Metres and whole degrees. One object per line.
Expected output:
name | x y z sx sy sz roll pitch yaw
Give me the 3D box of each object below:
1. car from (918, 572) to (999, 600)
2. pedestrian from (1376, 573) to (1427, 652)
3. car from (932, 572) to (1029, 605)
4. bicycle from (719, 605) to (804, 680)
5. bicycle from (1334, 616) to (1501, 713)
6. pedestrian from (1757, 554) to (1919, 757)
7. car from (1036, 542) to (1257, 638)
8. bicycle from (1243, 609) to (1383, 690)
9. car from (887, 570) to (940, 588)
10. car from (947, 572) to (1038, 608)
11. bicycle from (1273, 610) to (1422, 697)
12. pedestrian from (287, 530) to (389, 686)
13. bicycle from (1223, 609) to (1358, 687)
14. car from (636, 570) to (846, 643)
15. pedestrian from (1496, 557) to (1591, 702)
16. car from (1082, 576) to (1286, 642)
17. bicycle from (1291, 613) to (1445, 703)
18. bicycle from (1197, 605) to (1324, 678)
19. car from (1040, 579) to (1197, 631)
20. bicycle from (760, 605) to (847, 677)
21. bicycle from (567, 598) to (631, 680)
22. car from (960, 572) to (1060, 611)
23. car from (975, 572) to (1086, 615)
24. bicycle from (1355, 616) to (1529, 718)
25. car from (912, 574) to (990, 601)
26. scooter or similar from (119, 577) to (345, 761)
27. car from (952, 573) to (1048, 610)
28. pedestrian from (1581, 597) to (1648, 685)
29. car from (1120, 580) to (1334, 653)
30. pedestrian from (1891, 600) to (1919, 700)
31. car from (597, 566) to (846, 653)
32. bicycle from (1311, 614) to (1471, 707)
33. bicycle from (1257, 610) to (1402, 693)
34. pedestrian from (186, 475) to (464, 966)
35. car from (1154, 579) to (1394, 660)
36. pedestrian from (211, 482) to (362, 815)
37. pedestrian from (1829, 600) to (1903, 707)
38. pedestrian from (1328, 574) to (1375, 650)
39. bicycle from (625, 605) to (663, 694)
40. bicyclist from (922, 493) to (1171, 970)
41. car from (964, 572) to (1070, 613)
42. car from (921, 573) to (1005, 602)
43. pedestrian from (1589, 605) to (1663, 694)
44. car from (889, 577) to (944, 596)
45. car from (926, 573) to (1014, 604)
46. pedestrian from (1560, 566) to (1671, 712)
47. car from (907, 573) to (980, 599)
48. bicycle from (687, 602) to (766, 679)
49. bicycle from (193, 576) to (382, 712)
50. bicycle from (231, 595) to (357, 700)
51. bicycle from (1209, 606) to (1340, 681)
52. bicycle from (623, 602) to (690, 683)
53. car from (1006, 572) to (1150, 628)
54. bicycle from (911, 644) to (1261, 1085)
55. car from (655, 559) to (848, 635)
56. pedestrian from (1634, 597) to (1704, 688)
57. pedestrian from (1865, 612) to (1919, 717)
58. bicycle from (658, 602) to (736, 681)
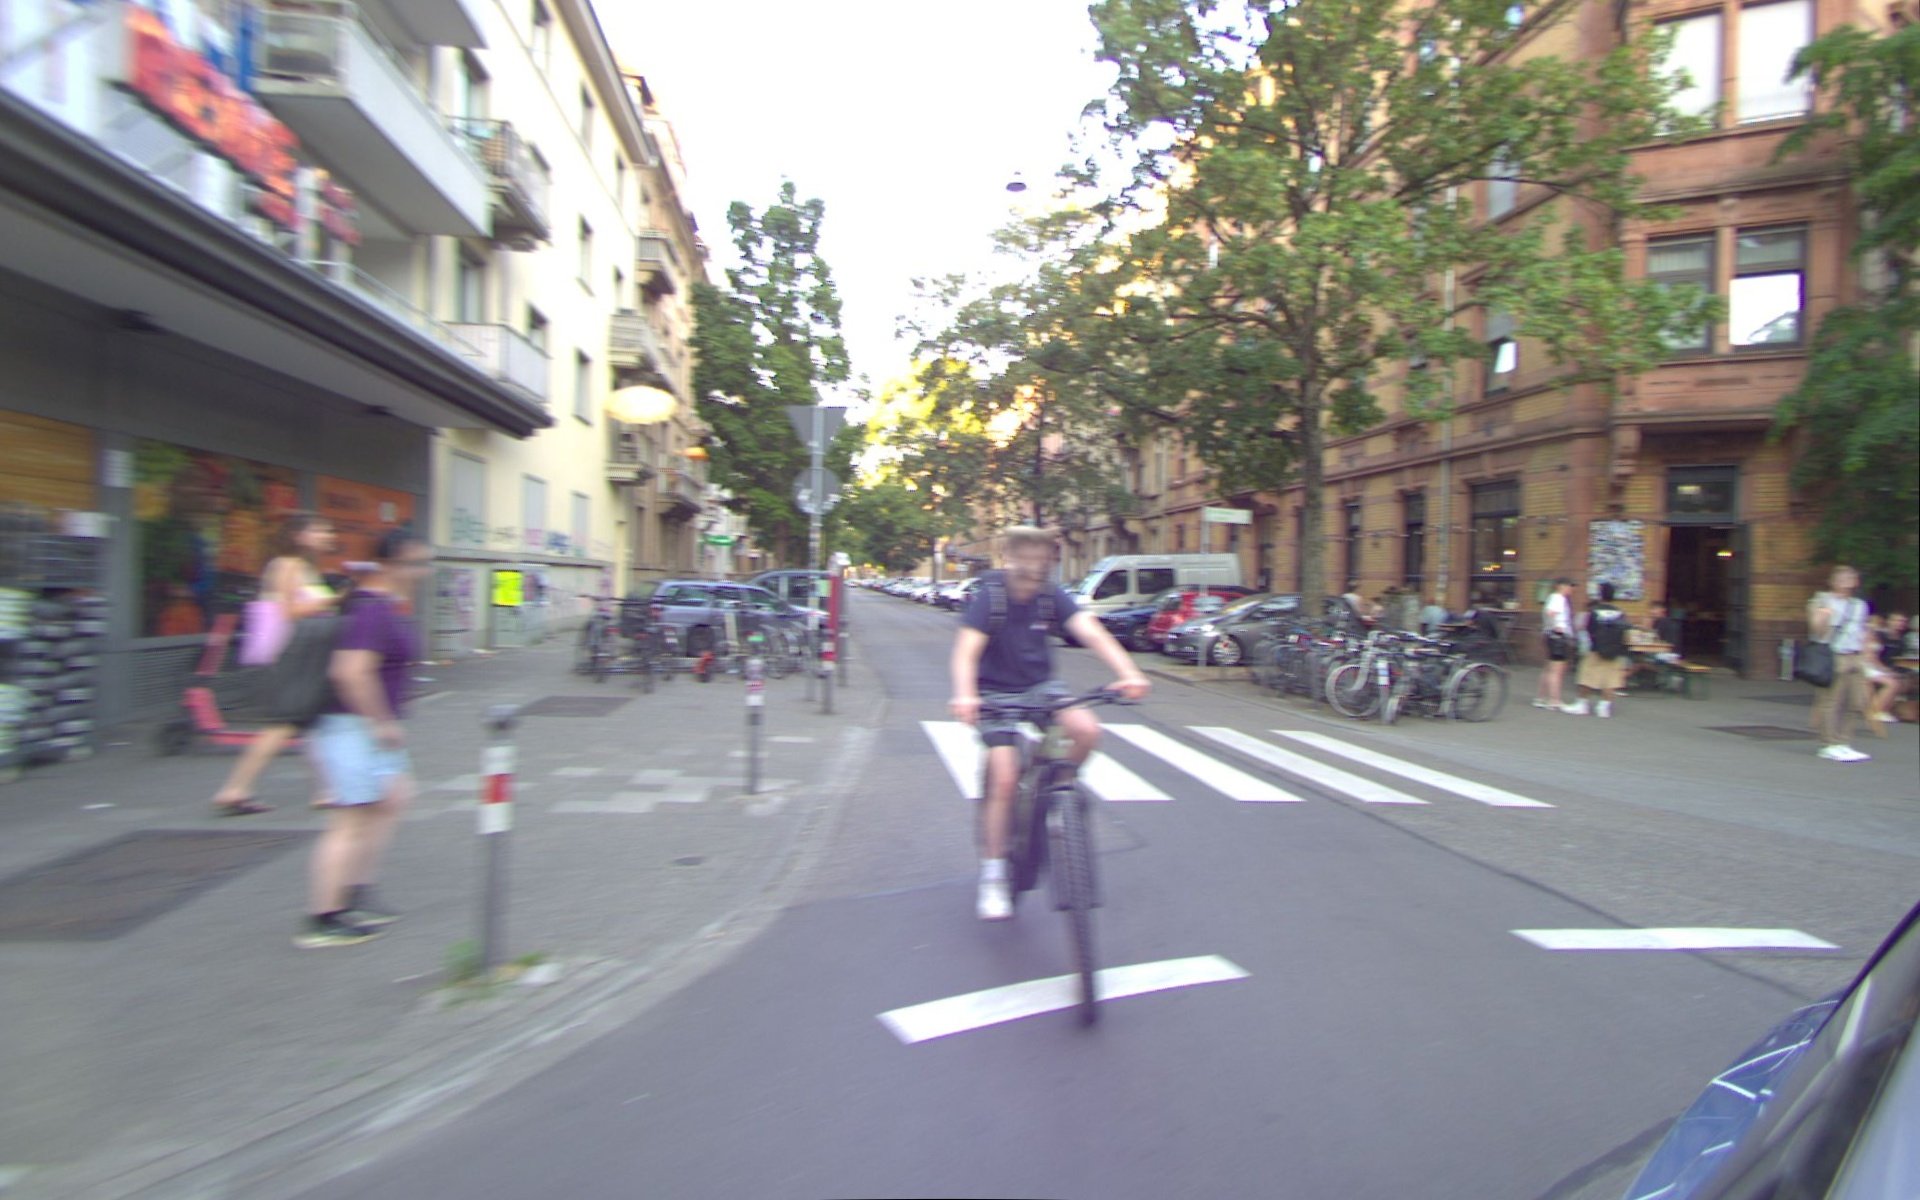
car | -0.135 -0.895 66.445 5.093 1.807 2.003 0 0 -8
pedestrian | 9.618 0.266 22.057 0.732 1.698 0.767 0 0 -3
car | 1.106 -0.640 56.262 5.093 1.807 2.003 0 0 -8
bicycle | -3.046 0.613 15.384 0.482 1.039 2.015 0 0 -35
bicycle | 5.676 0.778 12.568 1.993 1.148 0.436 0 0 -10
pedestrian | 8.373 0.501 9.690 0.822 1.851 0.867 0 0 6
car | 4.958 -0.279 27.325 5.428 2.451 2.249 0 0 -9
bicycle | 5.221 0.717 14.977 1.993 1.148 0.436 0 0 -10
car | -4.581 -2.070 100.003 5.093 1.807 2.003 0 0 -8
car | 1.679 -0.522 53.091 4.452 1.807 2.003 0 0 -8
bicycle | 5.367 0.727 14.022 1.993 1.148 0.436 0 0 -10
pedestrian | -6.692 0.080 10.916 0.704 1.621 0.666 0 0 -2
bicycle | 5.061 0.716 15.512 1.993 1.148 0.436 0 0 -10
car | -5.059 0.127 23.301 4.449 1.545 2.004 0 0 -22
pedestrian | 7.765 0.371 13.469 0.852 1.851 0.836 0 0 -37
car | 5.403 0.192 24.773 4.453 1.545 2.002 0 0 -6
bicycle | 5.464 0.763 13.563 1.993 1.148 0.436 0 0 -10
bicycle | 4.888 0.664 16.483 1.993 1.148 0.436 0 0 -10
car | 4.878 0.145 31.496 4.452 1.545 2.003 0 0 -8
bicycle | -2.472 0.609 15.798 0.482 1.039 2.015 0 0 -35
bicycle | -4.941 0.493 13.780 0.370 1.039 2.016 0 0 -33
car | 2.326 -0.403 47.884 4.452 1.807 2.003 0 0 -8
car | 2.996 -0.279 43.462 4.452 1.807 2.003 0 0 -8
bicycle | 5.751 0.781 12.073 1.993 1.148 0.436 0 0 -10
car | -0.631 -0.863 69.228 5.093 1.807 2.003 0 0 -8
scooter or similar | -5.282 0.502 7.400 1.262 1.283 0.323 2 -1 -17
car | 1.954 -0.419 50.101 4.452 1.807 2.003 0 0 -8
pedestrian | 10.464 0.636 16.179 0.725 1.362 0.628 0 0 -29
car | 5.885 0.347 22.604 4.206 1.545 1.913 0 0 -6
pedestrian | 12.583 0.645 13.165 0.563 1.285 0.547 0 0 -31
car | -4.637 0.148 20.131 4.470 1.545 1.994 0 0 -45
bicycle | 5.566 0.766 13.082 1.993 1.148 0.436 0 0 -10
bicycle | 5.293 0.724 14.500 1.993 1.148 0.436 0 0 -10
pedestrian | -2.462 0.405 3.946 0.709 1.672 0.709 0 0 35
car | 6.254 0.362 20.459 4.206 1.545 1.913 0 0 -6
pedestrian | -3.819 0.251 5.789 0.653 1.748 0.723 0 0 -29
pedestrian | 11.349 0.651 12.680 0.563 1.285 0.547 0 0 -31
pedestrian | 8.913 0.260 23.050 0.732 1.698 0.767 0 0 -3
bicycle | -4.001 0.593 12.851 0.370 1.039 1.665 0 0 -14
bicyclist | 0.300 0.471 4.167 0.775 1.710 0.999 1 0 -8
car | 2.547 -0.341 45.657 4.452 1.807 2.003 0 0 -8
car | 0.155 -0.805 64.108 5.093 1.807 2.003 0 0 -8
pedestrian | 9.697 0.705 14.734 0.725 1.247 0.628 0 0 -29
car | -4.212 -1.307 97.137 5.093 1.807 2.003 0 0 -8
car | 0.597 -0.687 61.468 5.093 1.807 2.003 0 0 -8
pedestrian | 8.092 0.462 12.537 0.853 1.745 0.836 0 0 6
car | -1.254 -1.018 73.656 5.093 1.807 2.003 0 0 -8
bicycle | -3.451 0.555 14.850 0.482 1.039 2.016 0 0 -33
bicycle | -6.263 0.394 9.416 1.782 1.218 0.347 0 0 13
bicycle | -7.152 0.463 10.957 0.370 1.039 1.885 0 0 -8
bicycle | 4.969 0.673 16.012 1.993 1.148 0.436 0 0 -10
bicycle | -4.289 0.560 14.216 0.370 1.039 2.016 0 0 -33
car | 3.934 -0.010 34.119 4.452 1.807 2.003 0 0 -8
bicycle | 0.311 0.797 4.005 0.775 1.086 2.289 1 1 -8
car | -5.314 -0.093 25.976 4.456 1.807 2.001 0 0 -33
pedestrian | 10.956 0.639 15.651 0.725 1.362 0.628 0 0 -29
pedestrian | 11.986 0.796 12.884 0.563 1.285 0.547 0 0 -31
bicycle | -3.810 0.557 14.572 0.482 1.039 2.016 0 0 -33
